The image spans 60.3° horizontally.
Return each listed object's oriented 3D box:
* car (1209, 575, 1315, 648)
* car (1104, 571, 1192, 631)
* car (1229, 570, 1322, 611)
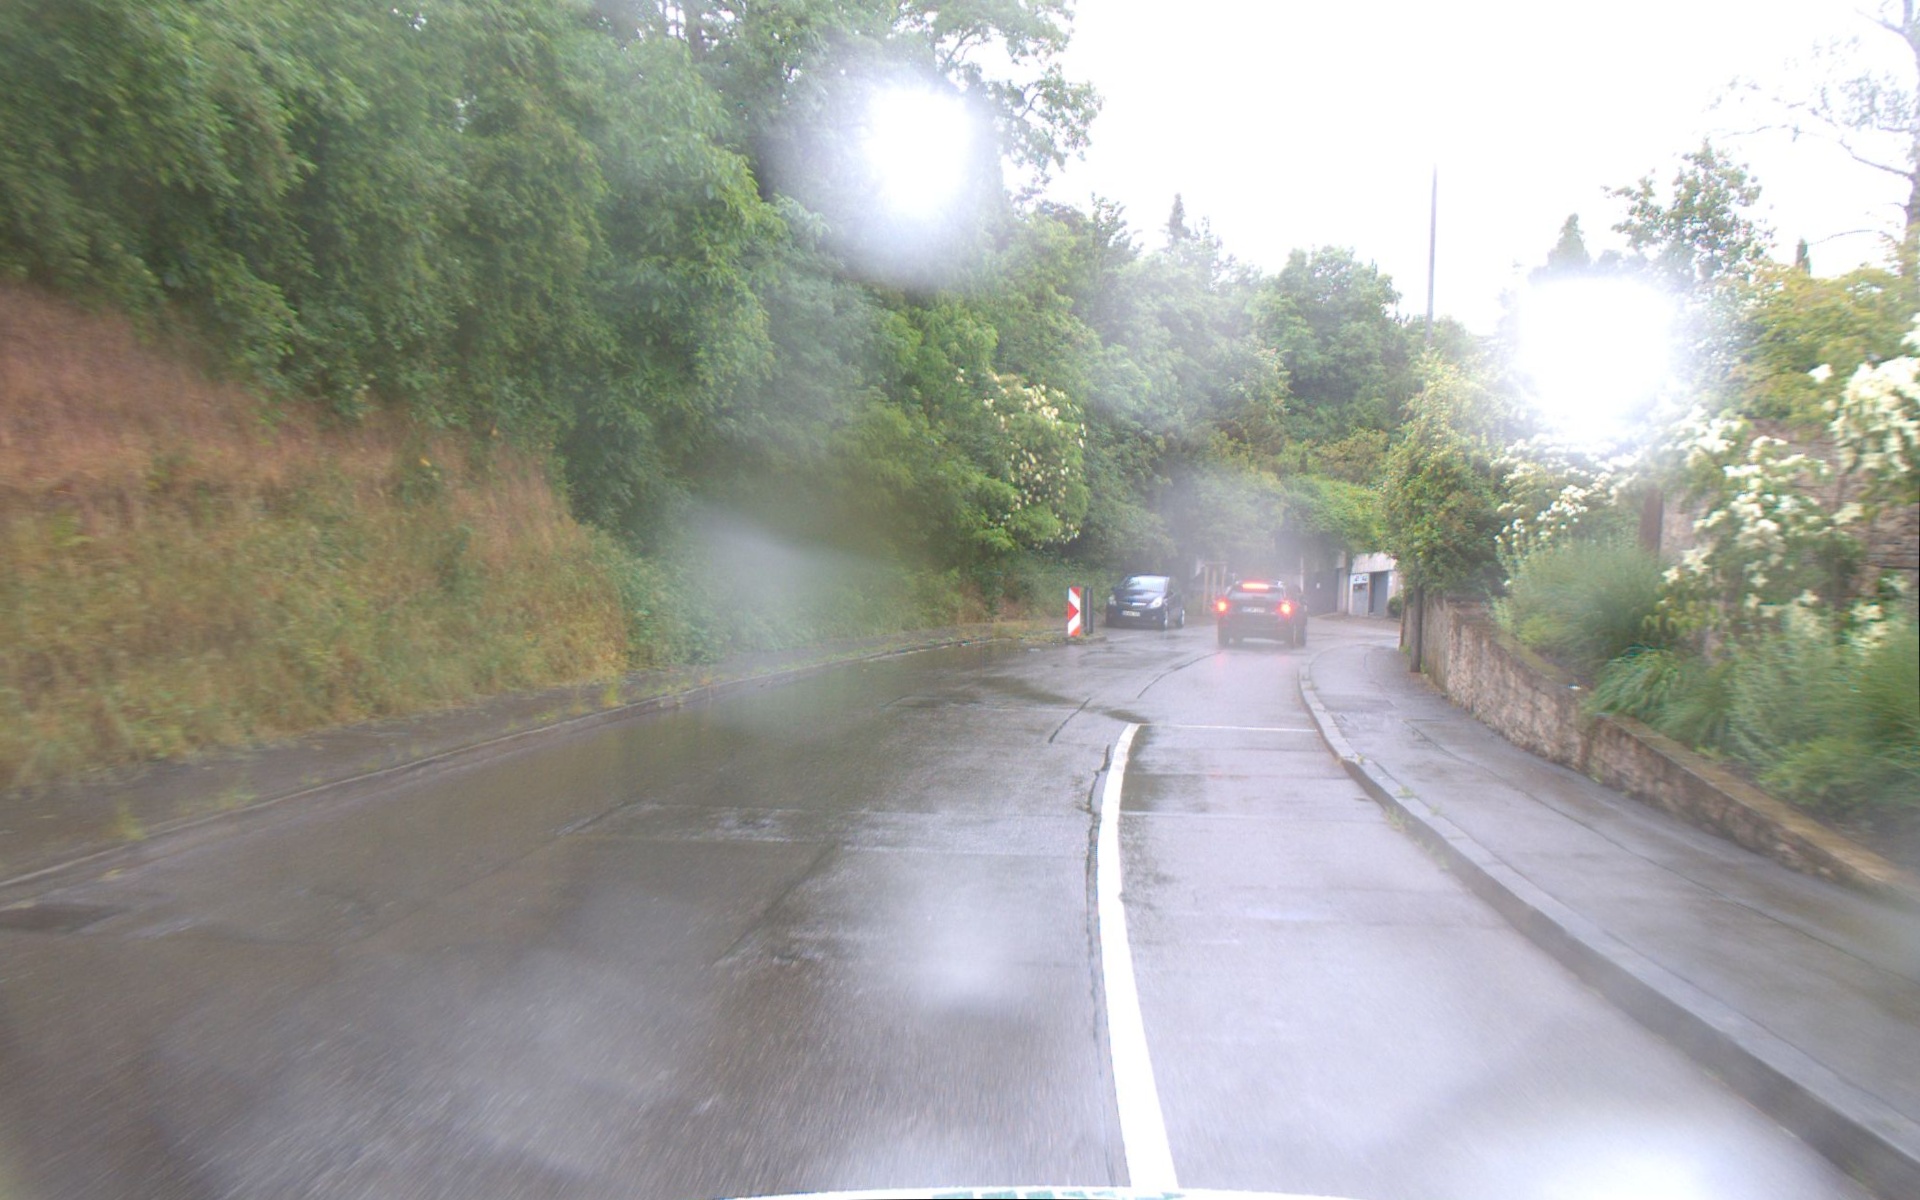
[{"bbox_3d":[7.006,0.214,38.059,1.829,1.538,4.094,1,1,18],"label":"car"},{"bbox_3d":[5.283,-0.009,46.034,1.664,1.496,4.003,3,2,17],"label":"car"},{"bbox_3d":[13.125,-0.386,68.629,1.961,1.534,4.551,3,1,37],"label":"car"}]
